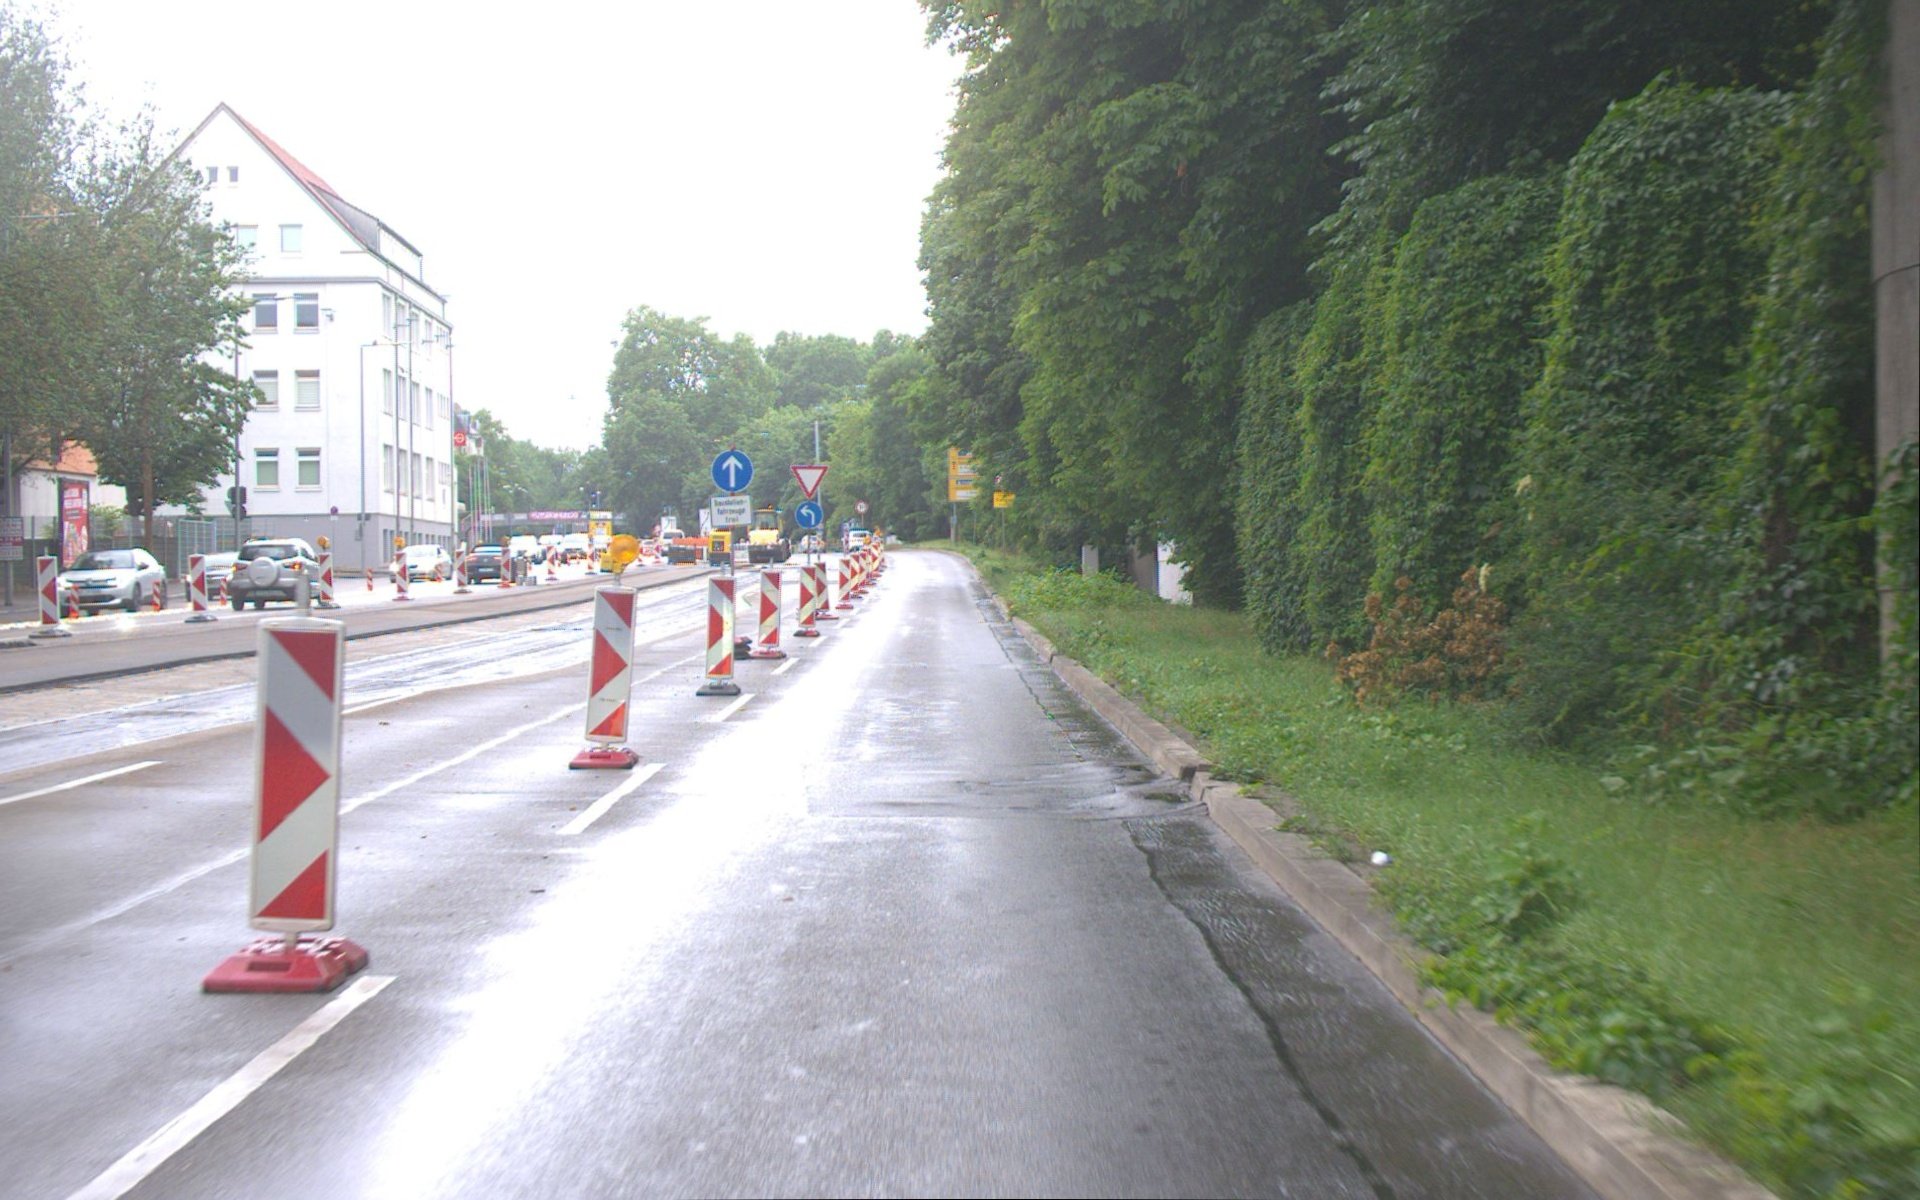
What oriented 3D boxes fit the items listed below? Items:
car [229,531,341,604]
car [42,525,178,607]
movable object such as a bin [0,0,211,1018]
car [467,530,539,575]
[{"bbox_3d":[-15.719,-0.752,80.202,1.854,1.642,4.000,1,1,0],"label":"car"},{"bbox_3d":[-19.077,-0.766,77.347,1.993,1.760,4.279,1,1,0],"label":"car"},{"bbox_3d":[-4.149,-0.311,11.467,1.993,3.356,5.982,1,1,0],"label":"movable object such as a bin"},{"bbox_3d":[-15.822,-1.634,119.136,1.993,1.514,4.000,1,1,-1],"label":"car"}]
